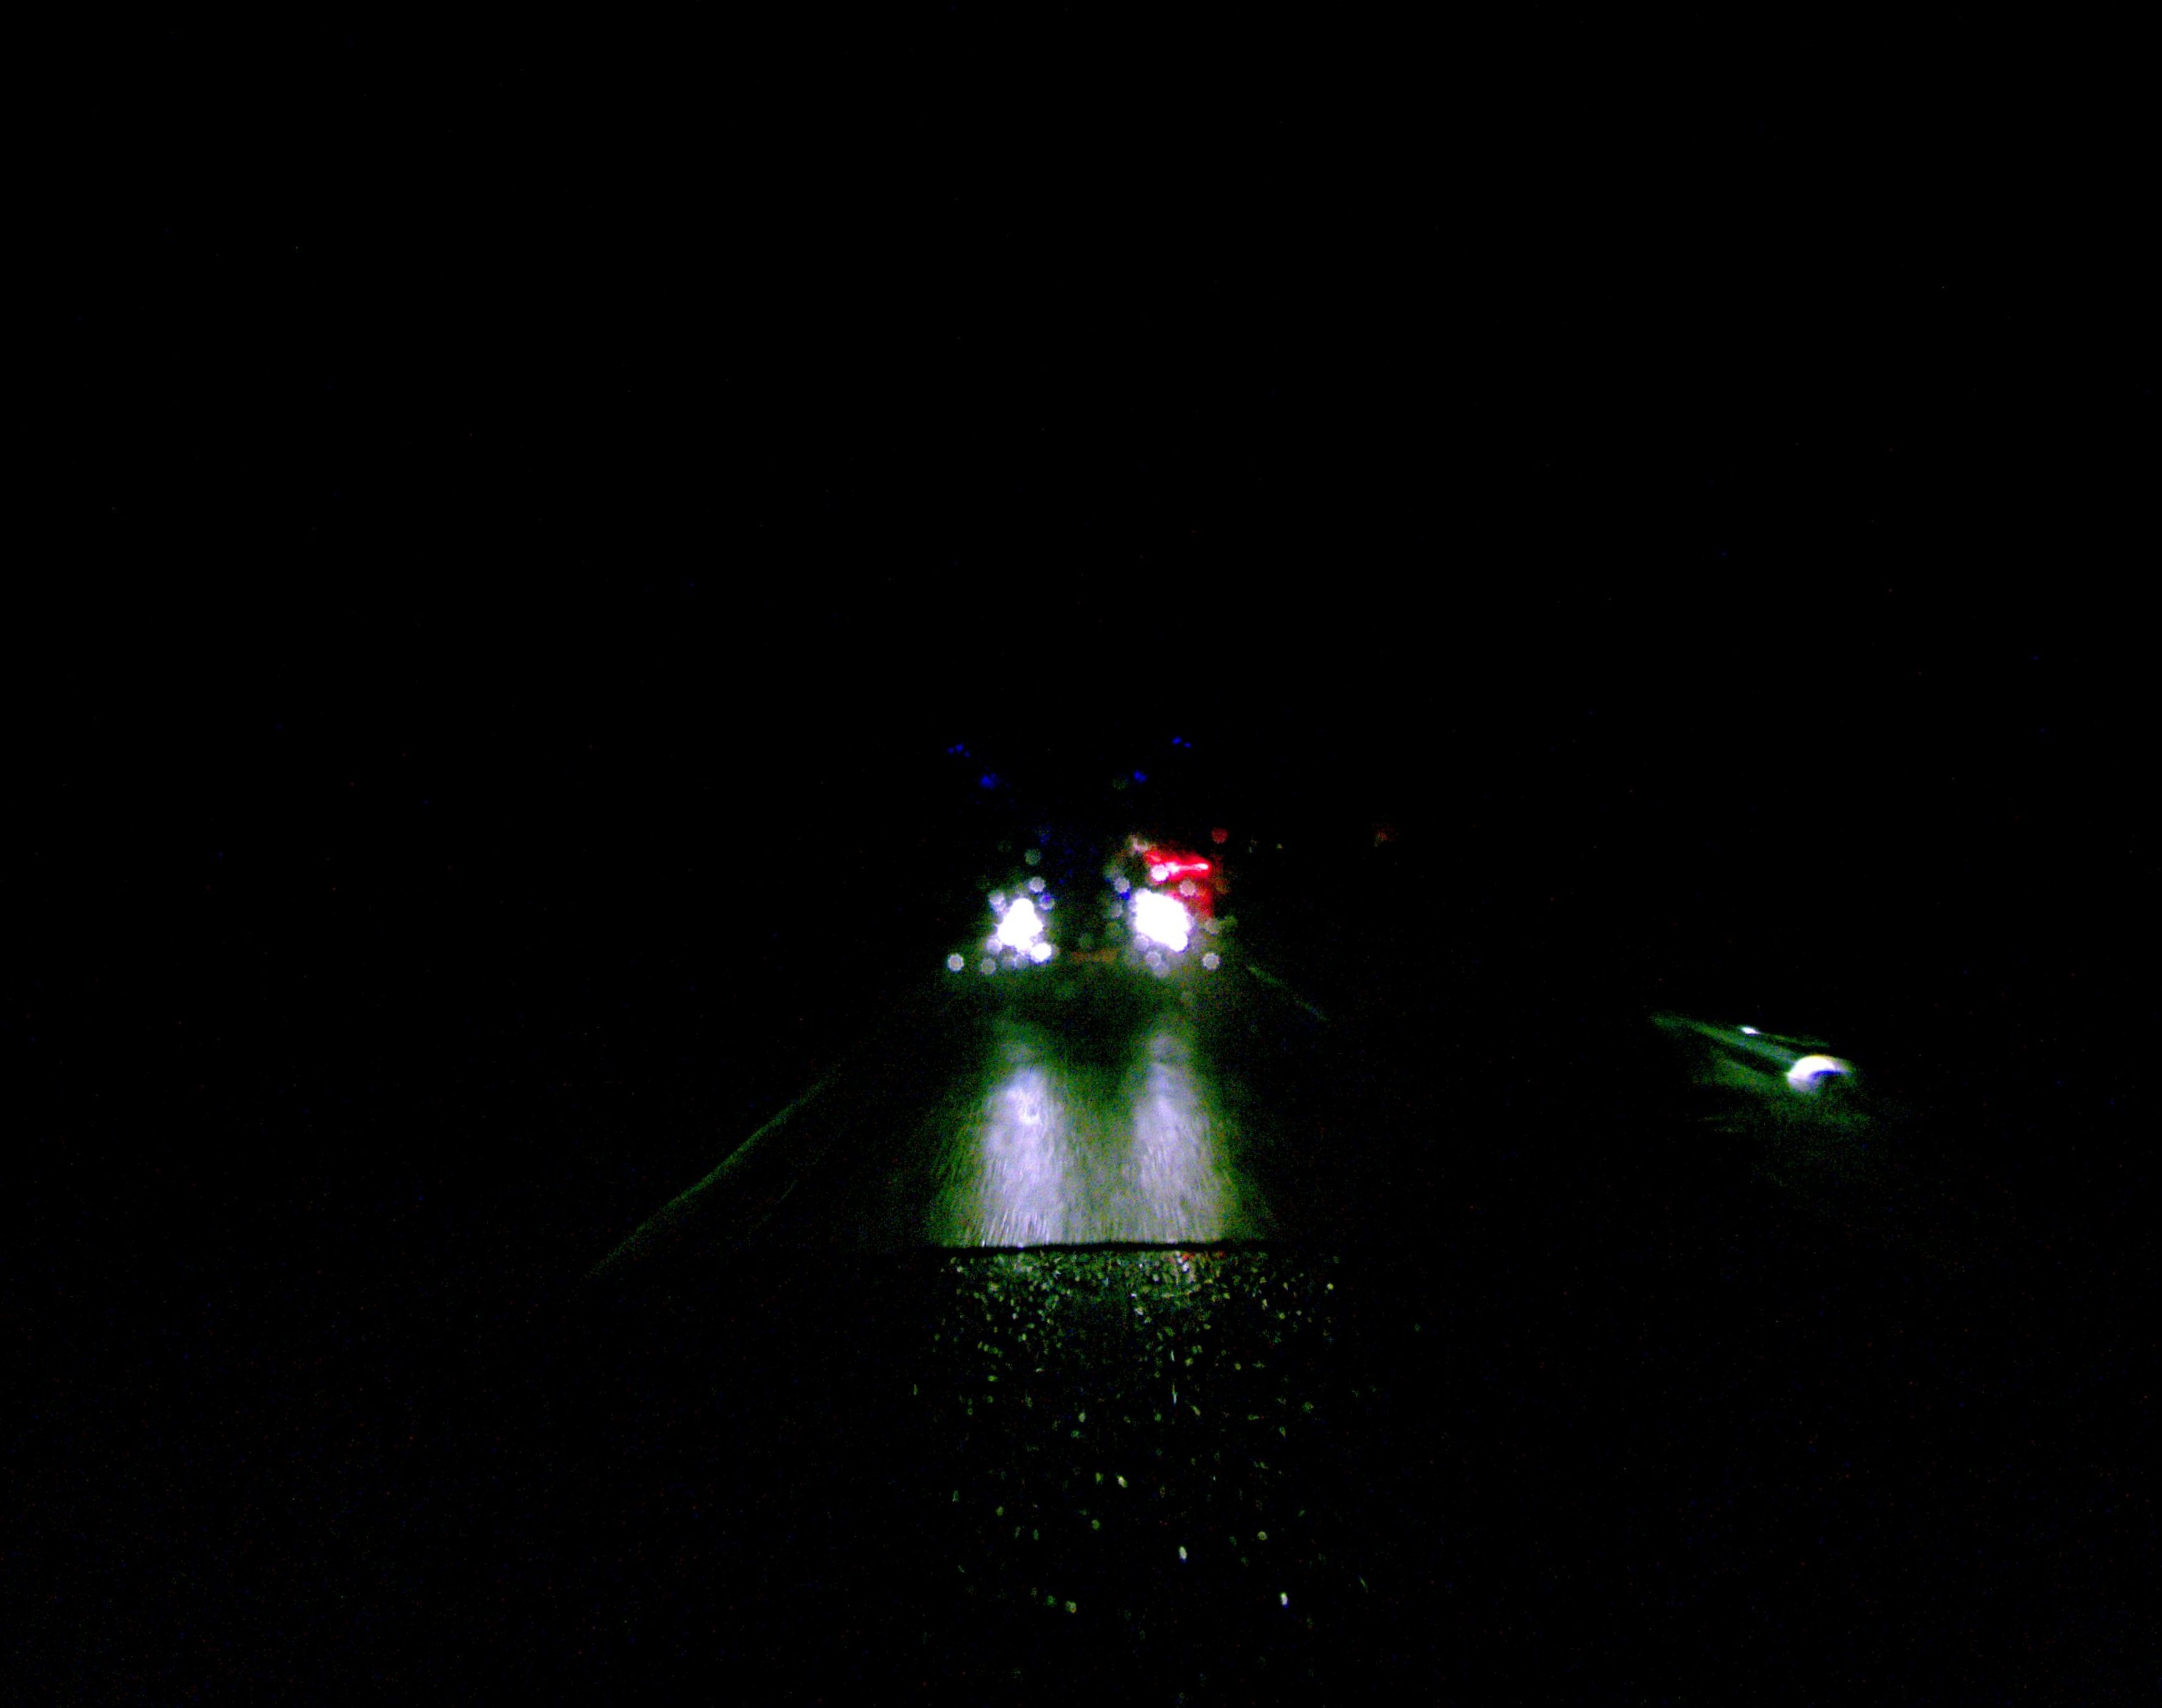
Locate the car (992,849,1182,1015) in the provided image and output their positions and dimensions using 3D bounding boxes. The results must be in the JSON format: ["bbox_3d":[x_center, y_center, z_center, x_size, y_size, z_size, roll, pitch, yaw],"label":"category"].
[{"bbox_3d":[0.160,0.774,9.589,1.845,1.565,4.000,-2,1,3],"label":"car"}]

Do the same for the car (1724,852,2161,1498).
[{"bbox_3d":[3.533,0.785,0.881,1.908,1.461,4.274,-3,0,0],"label":"car"}]

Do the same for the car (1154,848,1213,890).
[{"bbox_3d":[4.184,0.583,31.709,1.842,1.537,4.257,-2,0,0],"label":"car"}]

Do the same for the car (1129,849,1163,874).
[{"bbox_3d":[4.396,0.464,51.873,1.957,1.646,4.124,-1,0,-1],"label":"car"}]

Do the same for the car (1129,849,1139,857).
[{"bbox_3d":[10.734,-0.157,153.229,1.845,1.565,4.000,-2,1,3],"label":"car"}]
